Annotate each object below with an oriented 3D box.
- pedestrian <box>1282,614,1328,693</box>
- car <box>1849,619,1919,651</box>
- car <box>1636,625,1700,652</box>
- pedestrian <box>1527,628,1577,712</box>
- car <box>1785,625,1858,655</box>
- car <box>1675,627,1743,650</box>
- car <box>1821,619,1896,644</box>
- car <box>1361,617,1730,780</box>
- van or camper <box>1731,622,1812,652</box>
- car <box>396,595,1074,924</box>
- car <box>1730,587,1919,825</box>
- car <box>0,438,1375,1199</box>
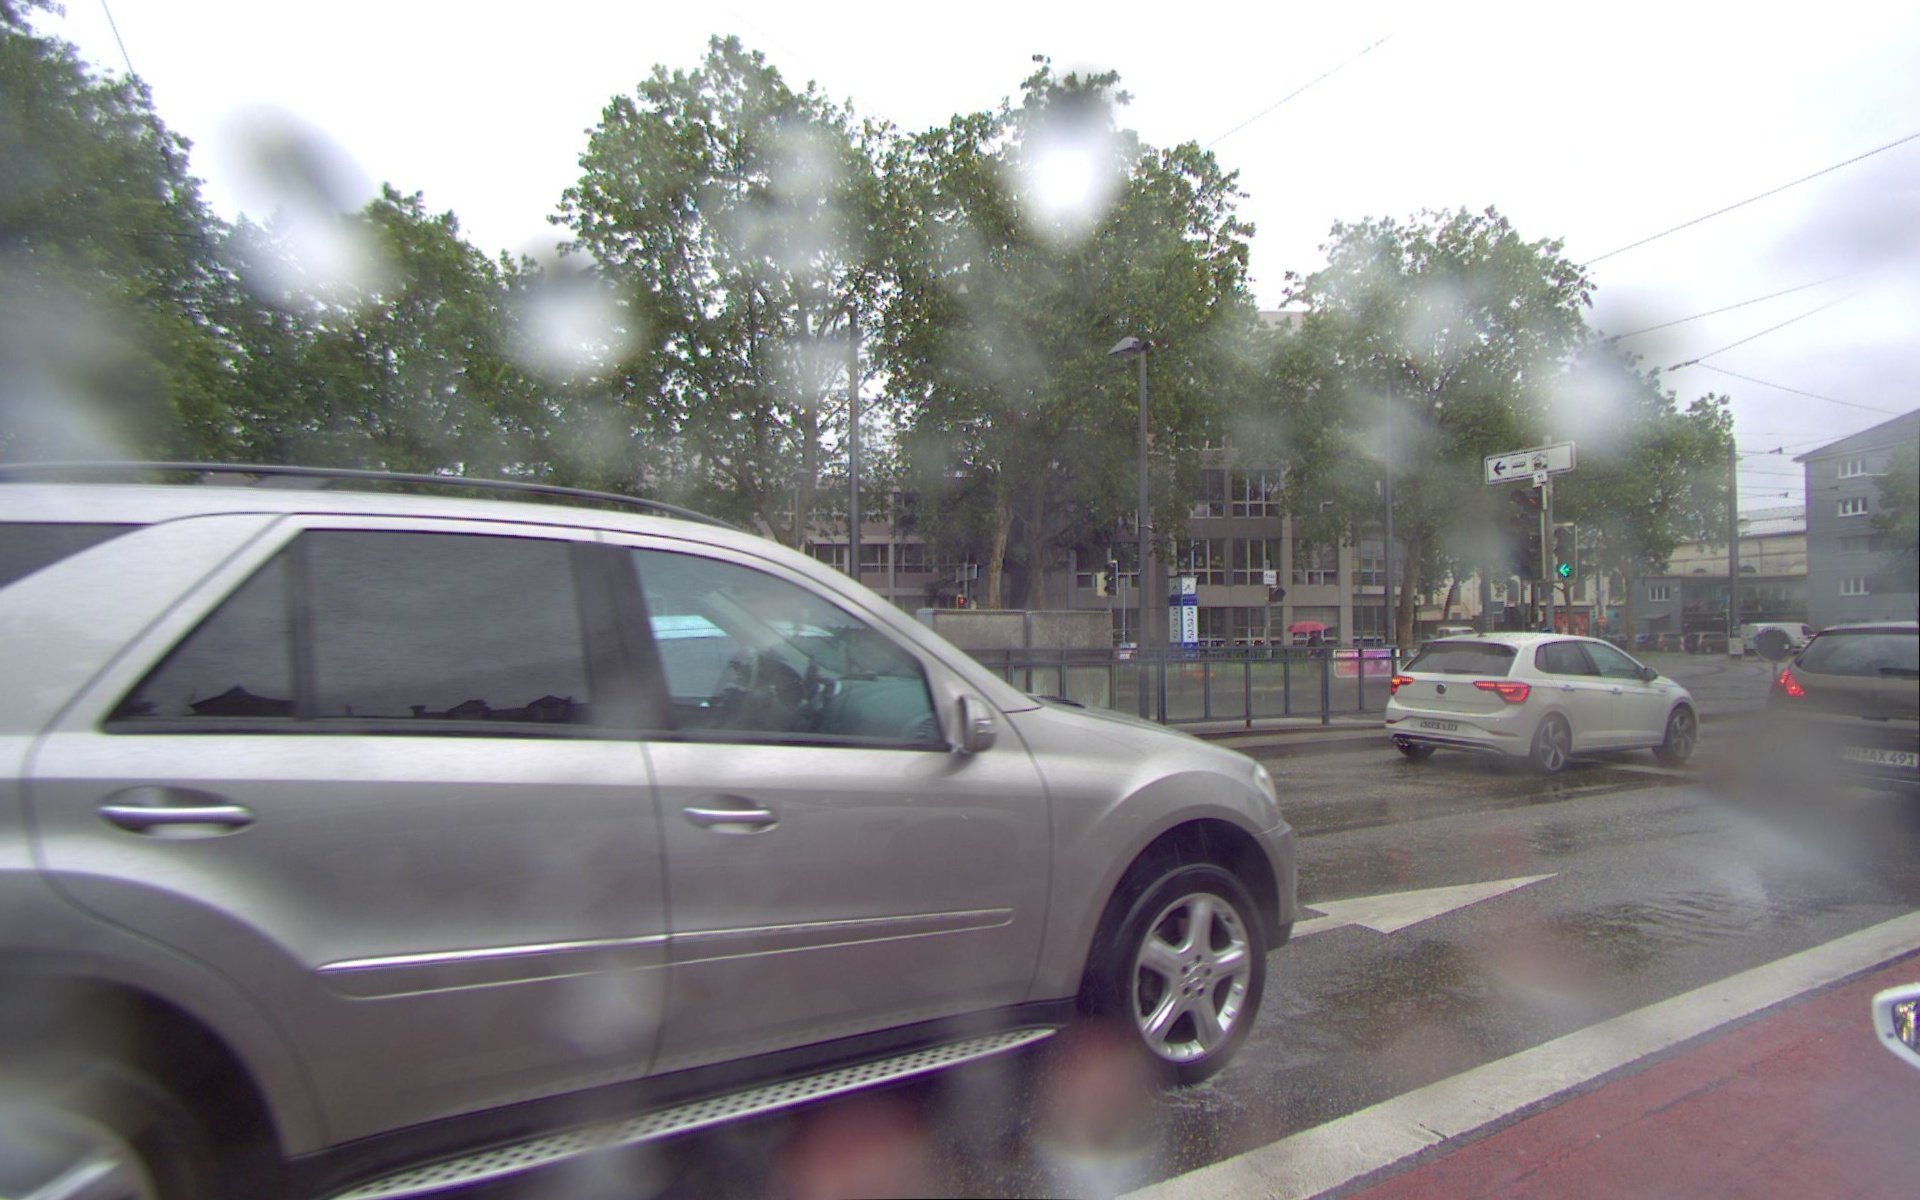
[{"bbox_3d":[7.794,1.197,22.664,0.932,1.734,0.830,-1,-1,22],"label":"pedestrian"},{"bbox_3d":[61.273,2.285,65.797,4.310,2.040,2.068,0,0,0],"label":"car"},{"bbox_3d":[58.805,3.218,83.478,3.921,2.040,2.000,2,0,0],"label":"car"},{"bbox_3d":[11.807,1.378,20.056,0.721,1.631,0.717,-1,-1,22],"label":"pedestrian"},{"bbox_3d":[60.950,2.814,71.066,3.931,2.040,1.995,0,-1,-13],"label":"car"},{"bbox_3d":[58.917,3.026,79.048,3.924,1.635,1.999,2,-1,-5],"label":"car"},{"bbox_3d":[61.685,2.123,68.977,3.931,1.639,1.922,0,-1,-13],"label":"car"},{"bbox_3d":[6.712,0.978,11.445,4.140,1.557,1.799,0,-1,-29],"label":"car"},{"bbox_3d":[59.574,2.689,73.769,4.568,2.102,1.998,1,-1,-7],"label":"van or camper"},{"bbox_3d":[-1.409,0.797,6.679,4.022,1.608,1.794,0,-1,-28],"label":"car"},{"bbox_3d":[8.659,0.778,8.622,4.140,1.732,1.794,0,0,-29],"label":"car"},{"bbox_3d":[-0.970,0.572,3.177,4.627,1.668,1.898,0,0,-32],"label":"car"}]
